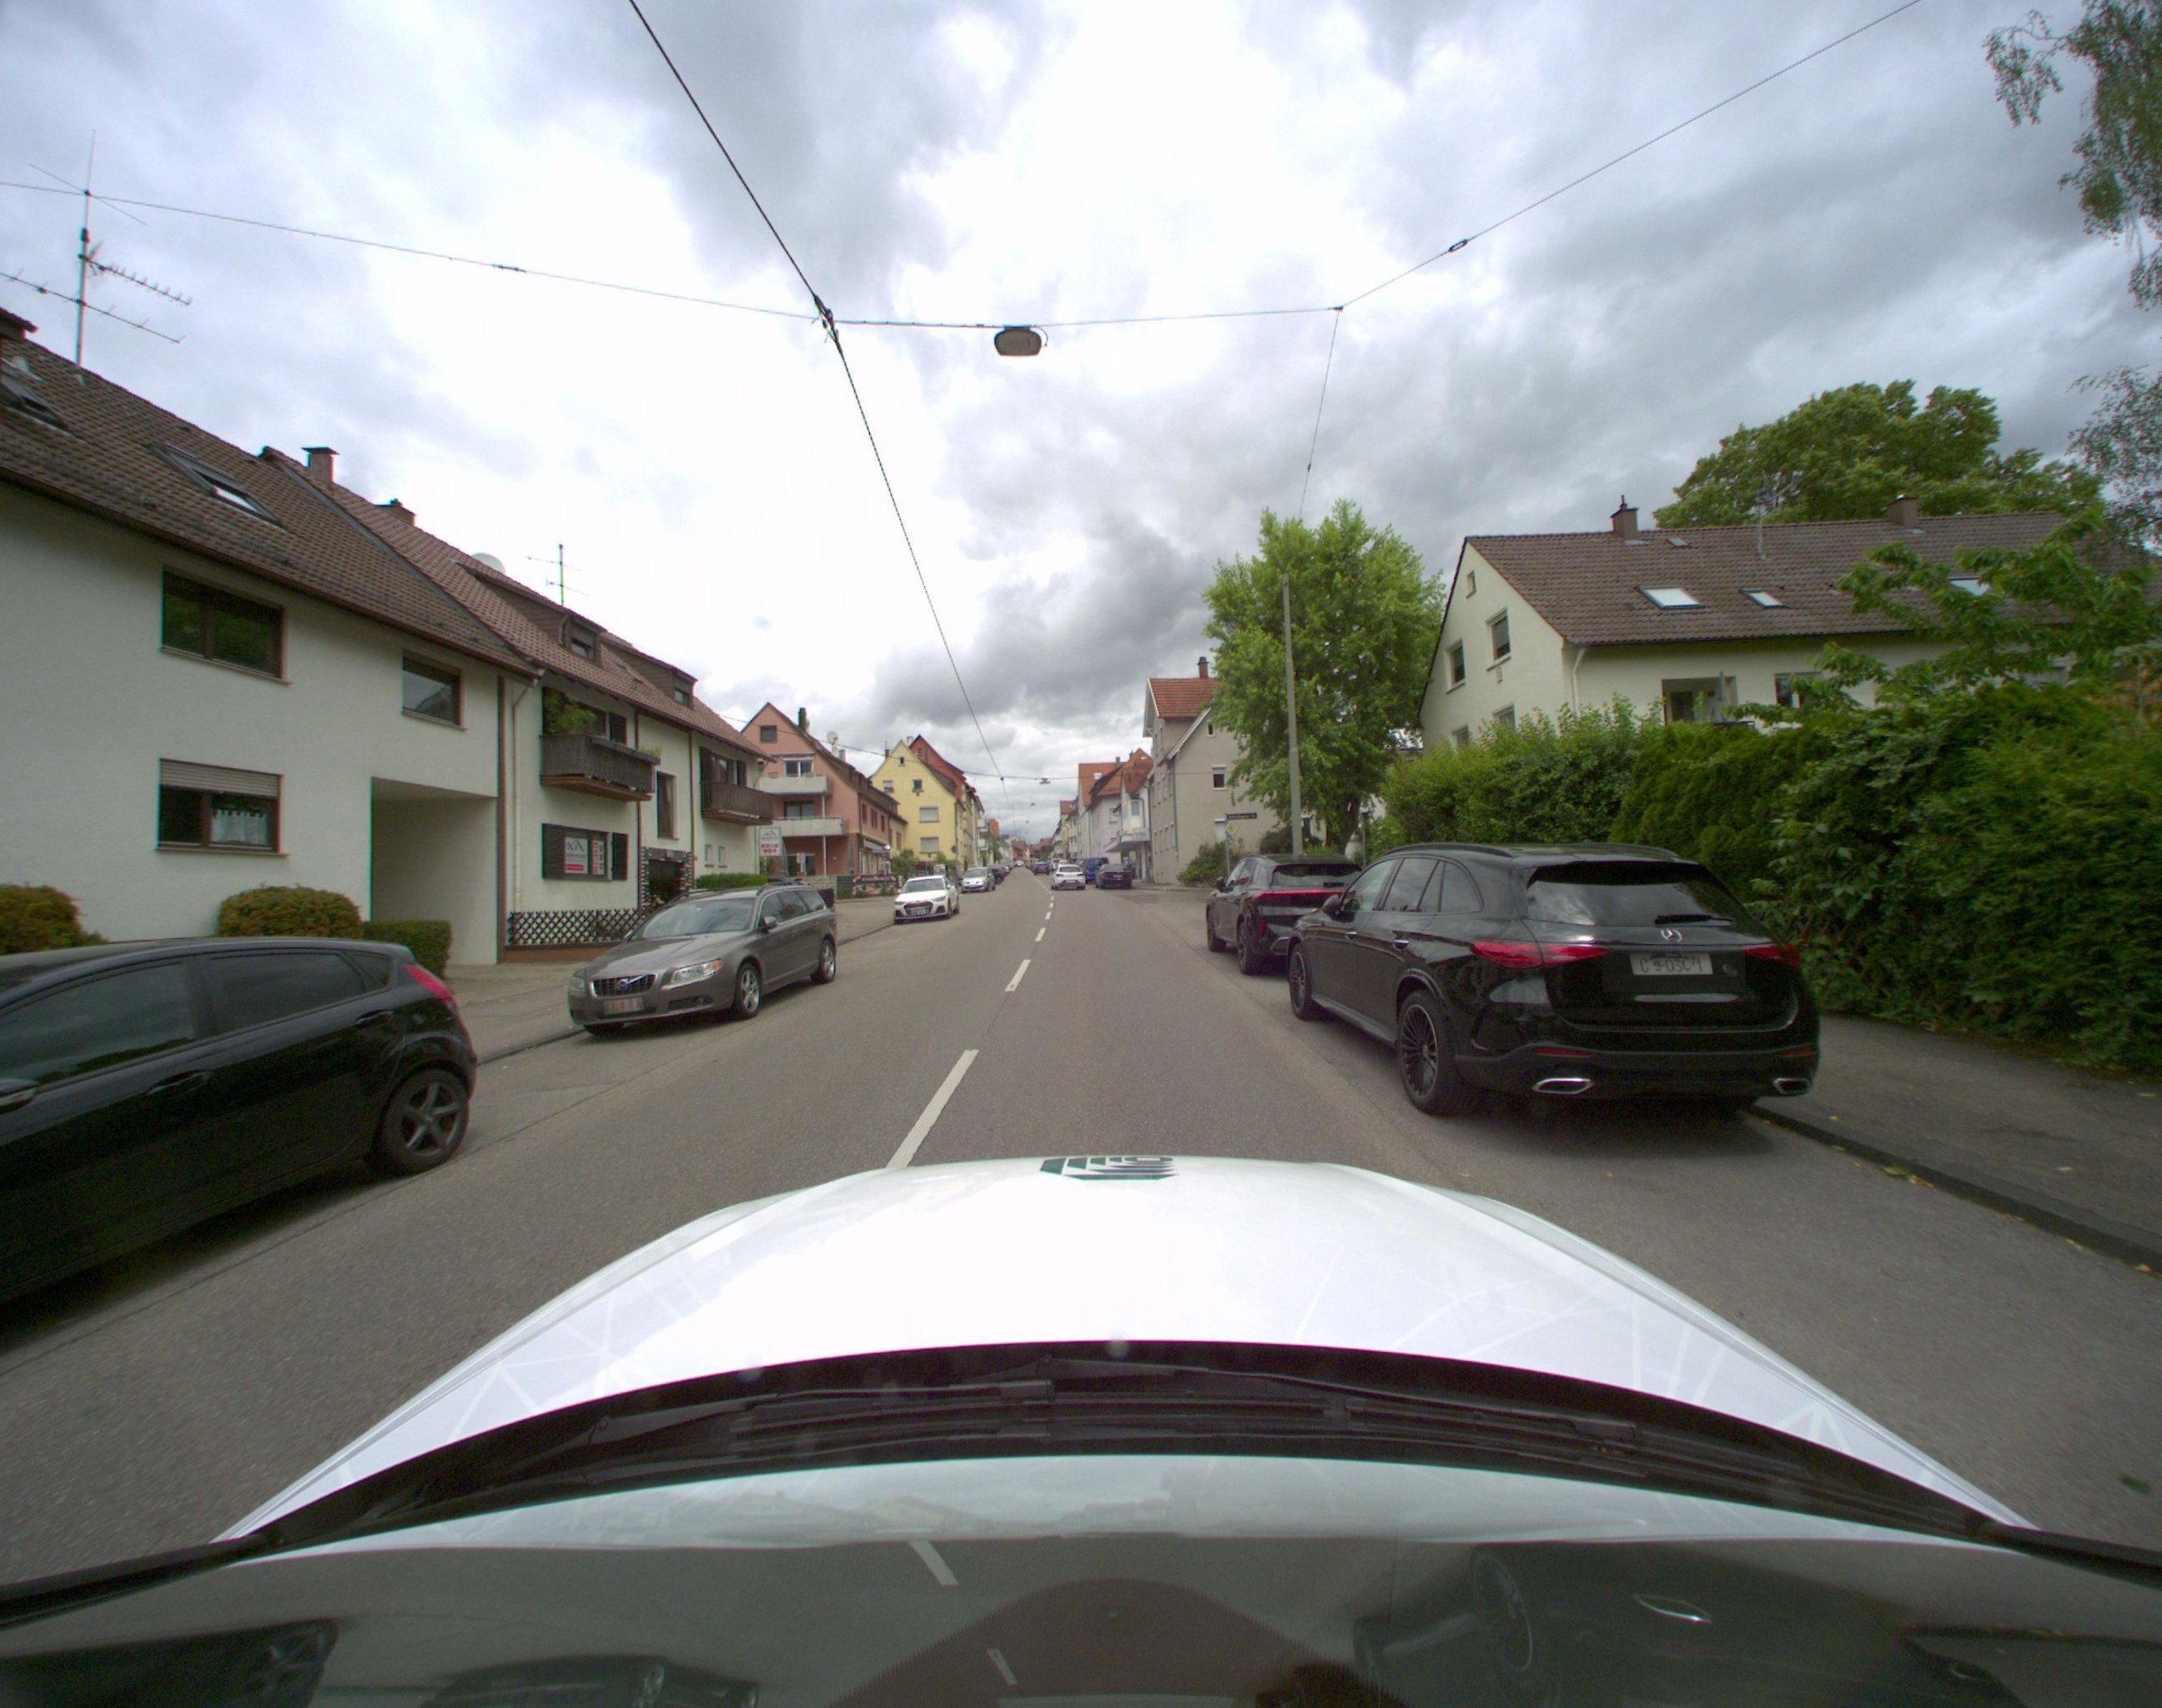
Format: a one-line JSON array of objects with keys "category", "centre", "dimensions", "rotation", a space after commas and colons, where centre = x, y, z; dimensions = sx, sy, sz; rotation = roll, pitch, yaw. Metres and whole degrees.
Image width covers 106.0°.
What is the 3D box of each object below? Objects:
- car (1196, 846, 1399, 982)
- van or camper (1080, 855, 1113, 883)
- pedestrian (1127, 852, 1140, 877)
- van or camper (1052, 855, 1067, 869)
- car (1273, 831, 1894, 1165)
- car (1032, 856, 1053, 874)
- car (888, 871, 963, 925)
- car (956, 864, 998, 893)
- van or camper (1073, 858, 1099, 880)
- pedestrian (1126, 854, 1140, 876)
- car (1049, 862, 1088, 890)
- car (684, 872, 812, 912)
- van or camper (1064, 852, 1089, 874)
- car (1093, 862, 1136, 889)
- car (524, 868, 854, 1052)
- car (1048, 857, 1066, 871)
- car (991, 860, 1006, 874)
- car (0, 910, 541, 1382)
[{"category": "car", "centre": [2.945, 0.747, 12.120], "dimensions": [1.805, 1.615, 4.538], "rotation": [-1, -1, 0]}, {"category": "van or camper", "centre": [1.115, 1.085, 60.158], "dimensions": [1.923, 1.925, 4.822], "rotation": [-1, 0, -5]}, {"category": "pedestrian", "centre": [4.263, 0.836, 66.383], "dimensions": [0.752, 2.013, 0.623], "rotation": [-2, -1, 30]}, {"category": "van or camper", "centre": [-3.320, 1.155, 123.981], "dimensions": [1.938, 2.055, 4.552], "rotation": [-1, 0, -6]}, {"category": "car", "centre": [3.019, 0.731, 6.292], "dimensions": [1.987, 1.615, 4.538], "rotation": [-1, -1, 0]}, {"category": "car", "centre": [-4.414, 1.235, 93.262], "dimensions": [2.149, 2.014, 3.992], "rotation": [-1, 0, -5]}, {"category": "car", "centre": [-5.050, 1.395, 26.952], "dimensions": [1.722, 1.458, 3.895], "rotation": [-6, 0, -2]}, {"category": "car", "centre": [-6.624, 1.542, 52.199], "dimensions": [1.826, 1.578, 4.034], "rotation": [-5, 0, 2]}, {"category": "van or camper", "centre": [0.389, 1.299, 72.257], "dimensions": [1.868, 1.829, 4.672], "rotation": [0, 0, -5]}, {"category": "pedestrian", "centre": [4.105, 0.896, 64.801], "dimensions": [0.862, 1.725, 0.623], "rotation": [-2, -1, 30]}, {"category": "car", "centre": [-0.744, 1.244, 46.703], "dimensions": [1.937, 1.439, 3.993], "rotation": [-1, 0, -5]}, {"category": "car", "centre": [-13.945, 1.579, 34.279], "dimensions": [4.503, 1.472, 2.000], "rotation": [-1, 0, 0]}, {"category": "van or camper", "centre": [-0.470, 0.857, 79.913], "dimensions": [1.990, 2.066, 5.935], "rotation": [0, 0, -4]}, {"category": "car", "centre": [1.968, 1.233, 48.921], "dimensions": [1.990, 1.518, 4.883], "rotation": [-1, 0, -5]}, {"category": "car", "centre": [-4.640, 1.111, 10.647], "dimensions": [1.841, 1.680, 4.786], "rotation": [-5, -1, 0]}, {"category": "car", "centre": [-3.012, 1.189, 101.823], "dimensions": [1.938, 1.693, 3.992], "rotation": [0, 0, -6]}, {"category": "car", "centre": [-10.154, 1.594, 100.622], "dimensions": [1.639, 1.473, 4.172], "rotation": [-5, 0, -4]}, {"category": "car", "centre": [-4.633, 1.188, 3.489], "dimensions": [1.757, 1.438, 4.078], "rotation": [-6, 0, 0]}]
